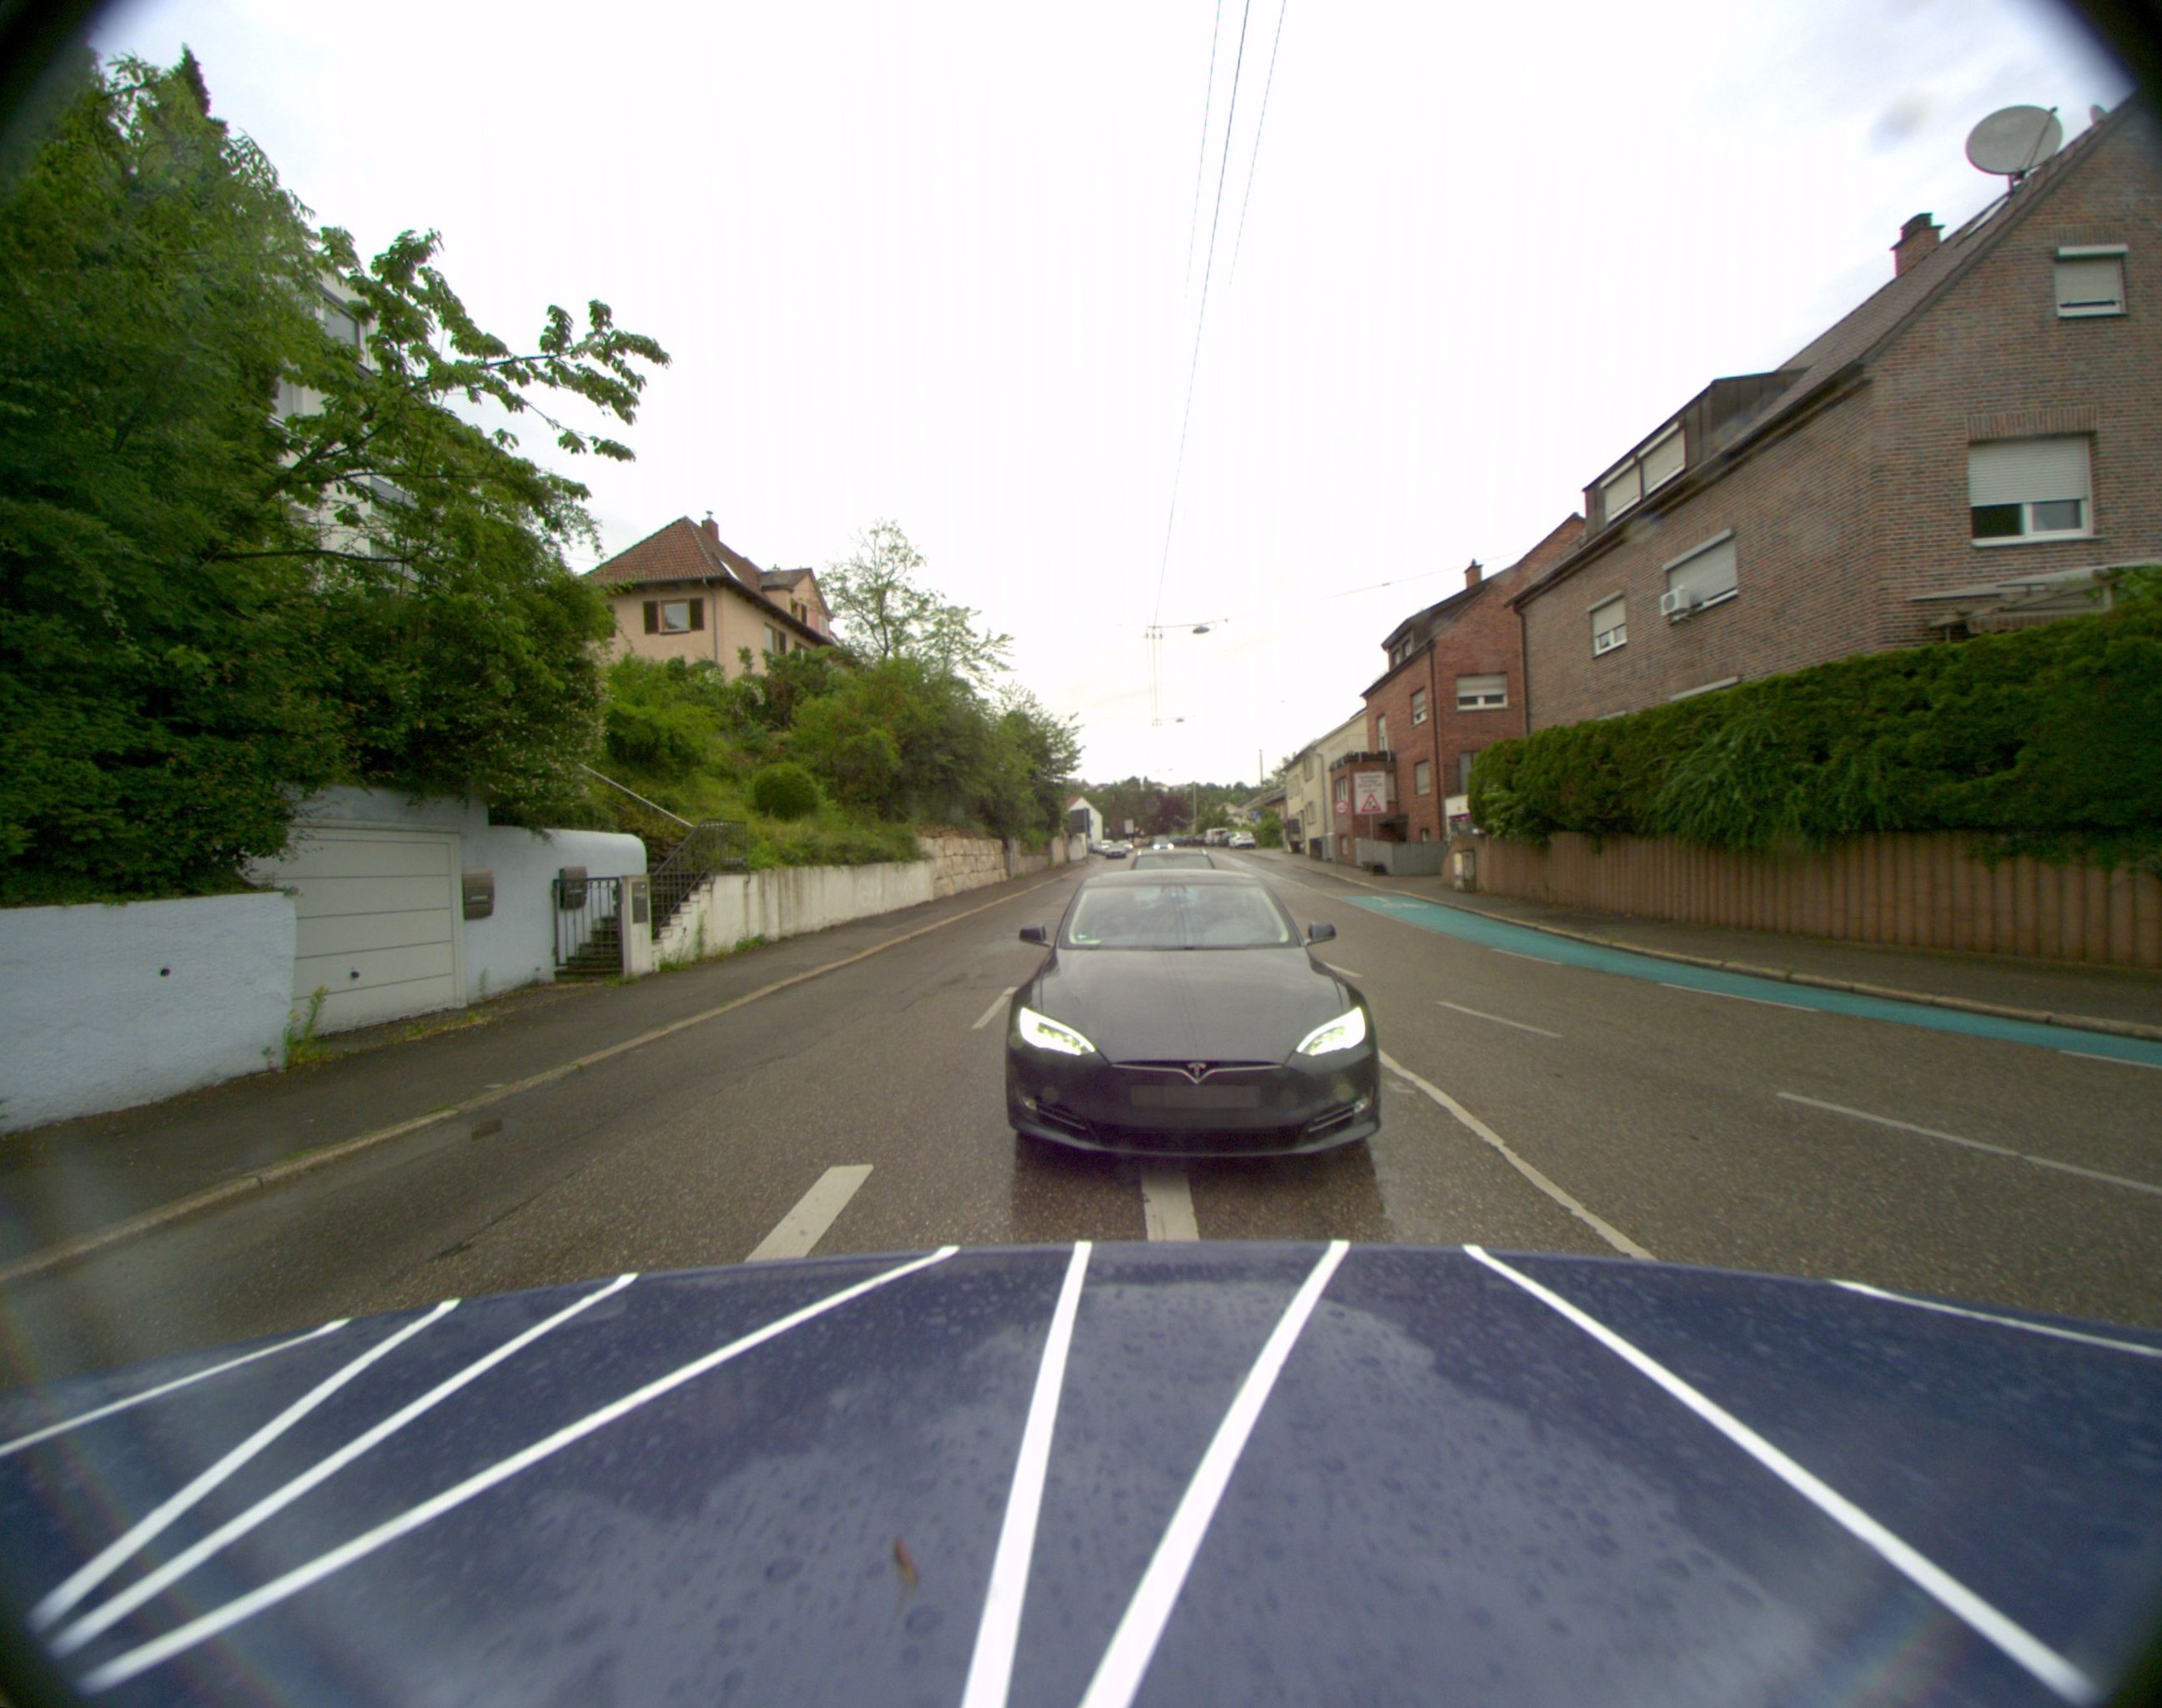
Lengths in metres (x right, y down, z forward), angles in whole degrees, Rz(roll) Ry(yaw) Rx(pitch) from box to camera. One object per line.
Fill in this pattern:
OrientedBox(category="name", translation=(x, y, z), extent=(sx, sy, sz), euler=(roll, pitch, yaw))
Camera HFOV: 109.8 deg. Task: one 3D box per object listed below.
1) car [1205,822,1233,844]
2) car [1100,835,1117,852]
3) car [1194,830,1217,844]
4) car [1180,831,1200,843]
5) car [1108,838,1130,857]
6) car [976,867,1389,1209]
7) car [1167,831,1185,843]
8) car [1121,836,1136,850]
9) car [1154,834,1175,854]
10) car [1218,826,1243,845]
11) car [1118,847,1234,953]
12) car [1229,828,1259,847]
OrientedBox(category="car", translation=(15.625, -2.337, 86.142), extent=(2.257, 2.273, 4.546), euler=(-4, 1, 0))
OrientedBox(category="car", translation=(3.201, -1.208, 89.041), extent=(1.820, 1.855, 4.038), euler=(-2, 2, -1))
OrientedBox(category="car", translation=(15.017, -2.057, 91.509), extent=(1.654, 1.482, 4.009), euler=(-4, 1, -6))
OrientedBox(category="car", translation=(13.978, -2.186, 97.465), extent=(1.654, 1.388, 3.859), euler=(-4, 1, -4))
OrientedBox(category="car", translation=(3.657, -0.605, 73.172), extent=(2.002, 1.596, 4.360), euler=(-2, -1, 4))
OrientedBox(category="car", translation=(0.610, 0.909, 5.520), extent=(1.870, 1.407, 4.000), euler=(-2, 1, 4))
OrientedBox(category="car", translation=(12.760, -2.234, 102.600), extent=(1.624, 1.482, 3.901), euler=(-4, 1, -4))
OrientedBox(category="car", translation=(5.861, -1.335, 93.697), extent=(1.737, 1.493, 3.883), euler=(-2, -1, 4))
OrientedBox(category="car", translation=(7.829, -0.928, 71.470), extent=(1.816, 1.720, 4.002), euler=(-2, -1, 4))
OrientedBox(category="car", translation=(15.735, -1.907, 80.112), extent=(1.814, 1.793, 4.263), euler=(-4, 1, 2))
OrientedBox(category="car", translation=(1.643, 0.712, 13.893), extent=(1.789, 1.580, 3.784), euler=(-2, 1, 4))
OrientedBox(category="car", translation=(15.366, -1.556, 71.964), extent=(1.946, 1.557, 4.263), euler=(-4, 1, 2))
